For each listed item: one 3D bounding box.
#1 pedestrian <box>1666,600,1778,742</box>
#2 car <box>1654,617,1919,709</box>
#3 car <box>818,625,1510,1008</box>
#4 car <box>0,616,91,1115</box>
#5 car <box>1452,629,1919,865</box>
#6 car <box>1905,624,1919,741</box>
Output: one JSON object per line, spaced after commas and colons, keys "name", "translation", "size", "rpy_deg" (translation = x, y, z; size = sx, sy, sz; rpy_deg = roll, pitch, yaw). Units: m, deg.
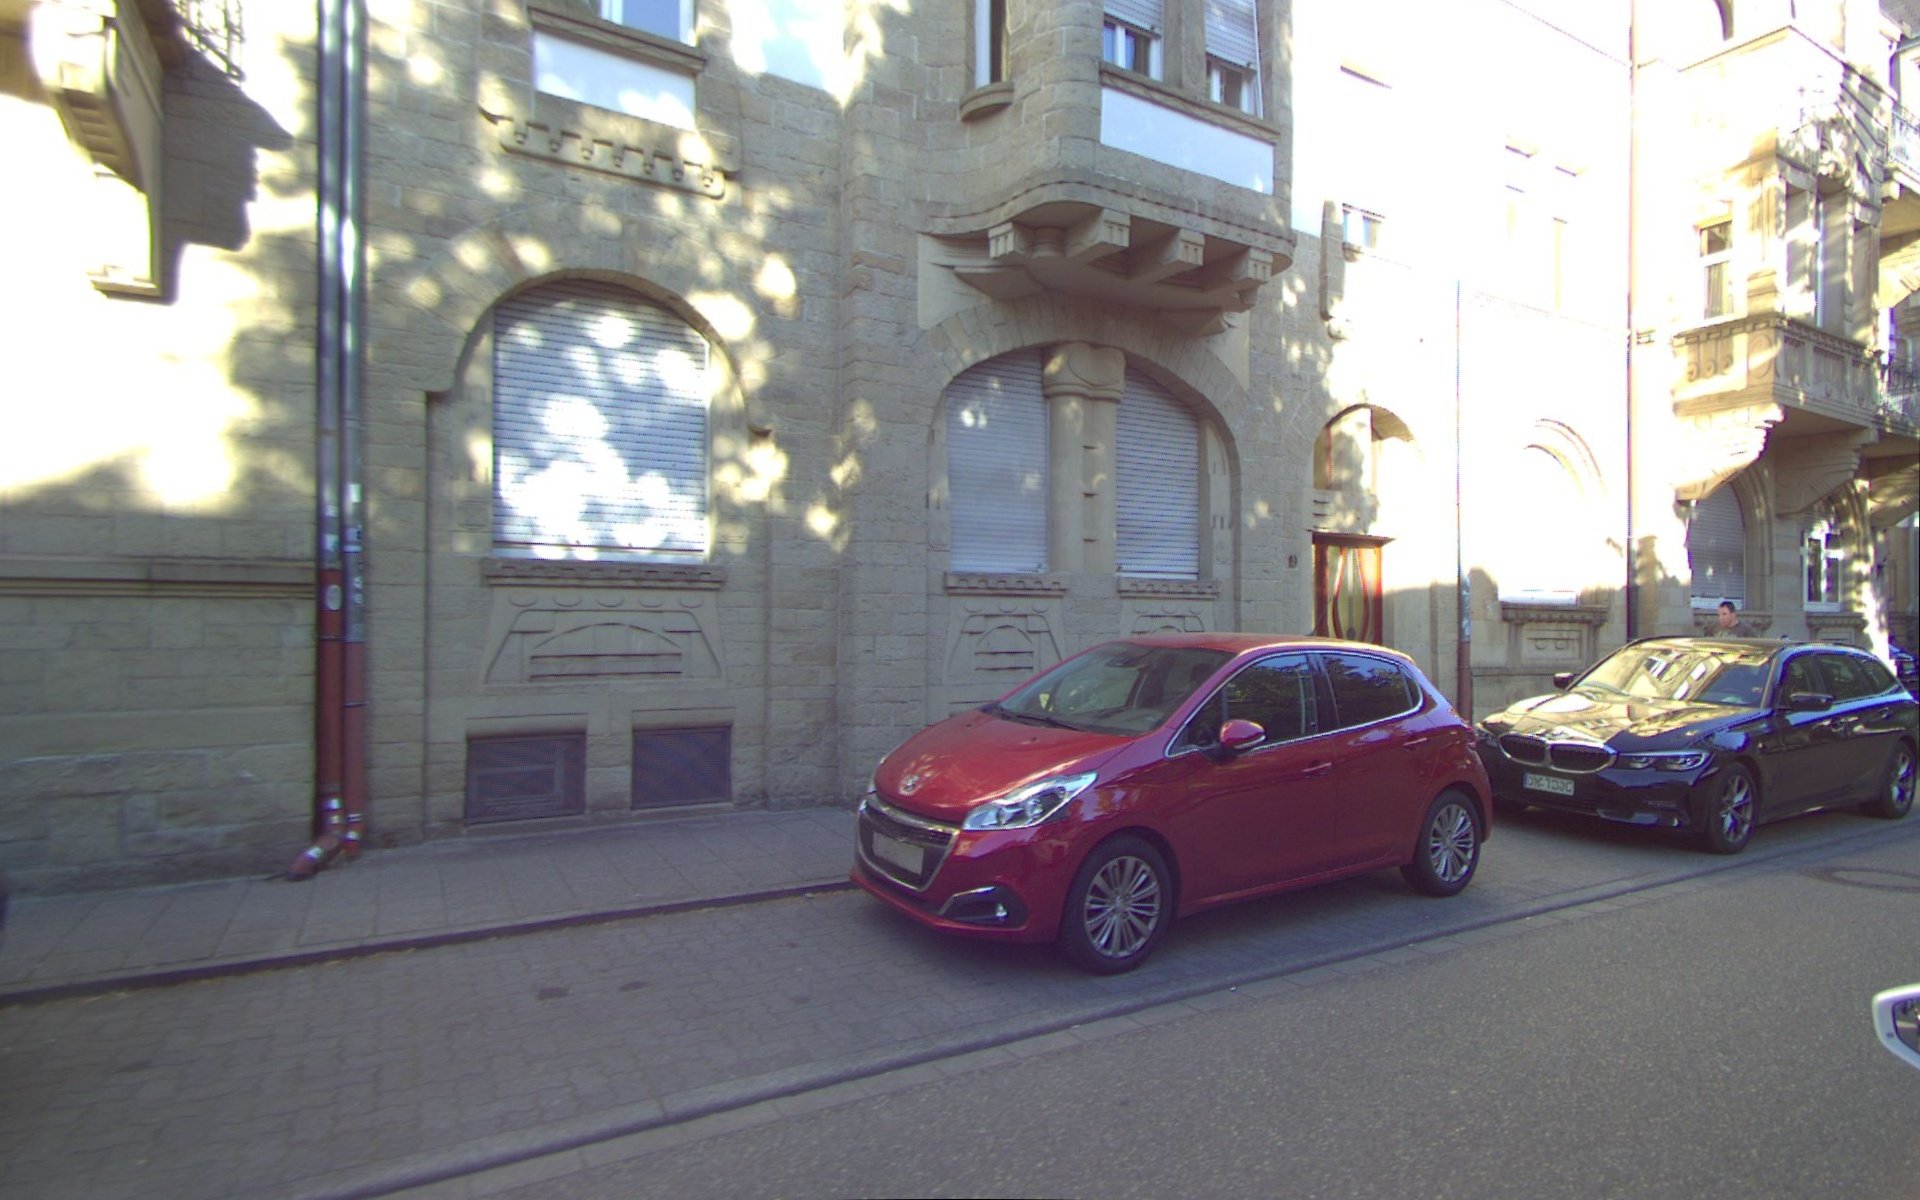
{"name": "pedestrian", "translation": [9.898, 0.889, 13.063], "size": [0.726, 1.765, 0.934], "rpy_deg": [2, -1, -29]}
{"name": "car", "translation": [17.076, 1.207, 20.783], "size": [1.699, 1.690, 4.178], "rpy_deg": [1, -1, -31]}
{"name": "car", "translation": [1.274, 0.898, 5.677], "size": [3.796, 1.472, 1.620], "rpy_deg": [1, 0, -33]}
{"name": "car", "translation": [-4.558, 0.725, 2.006], "size": [3.983, 1.472, 1.687], "rpy_deg": [2, -2, -32]}
{"name": "car", "translation": [6.294, 1.017, 8.417], "size": [4.496, 1.449, 1.667], "rpy_deg": [1, 1, -30]}
{"name": "car", "translation": [13.943, 1.116, 13.154], "size": [2.706, 1.509, 1.587], "rpy_deg": [1, 2, -32]}
